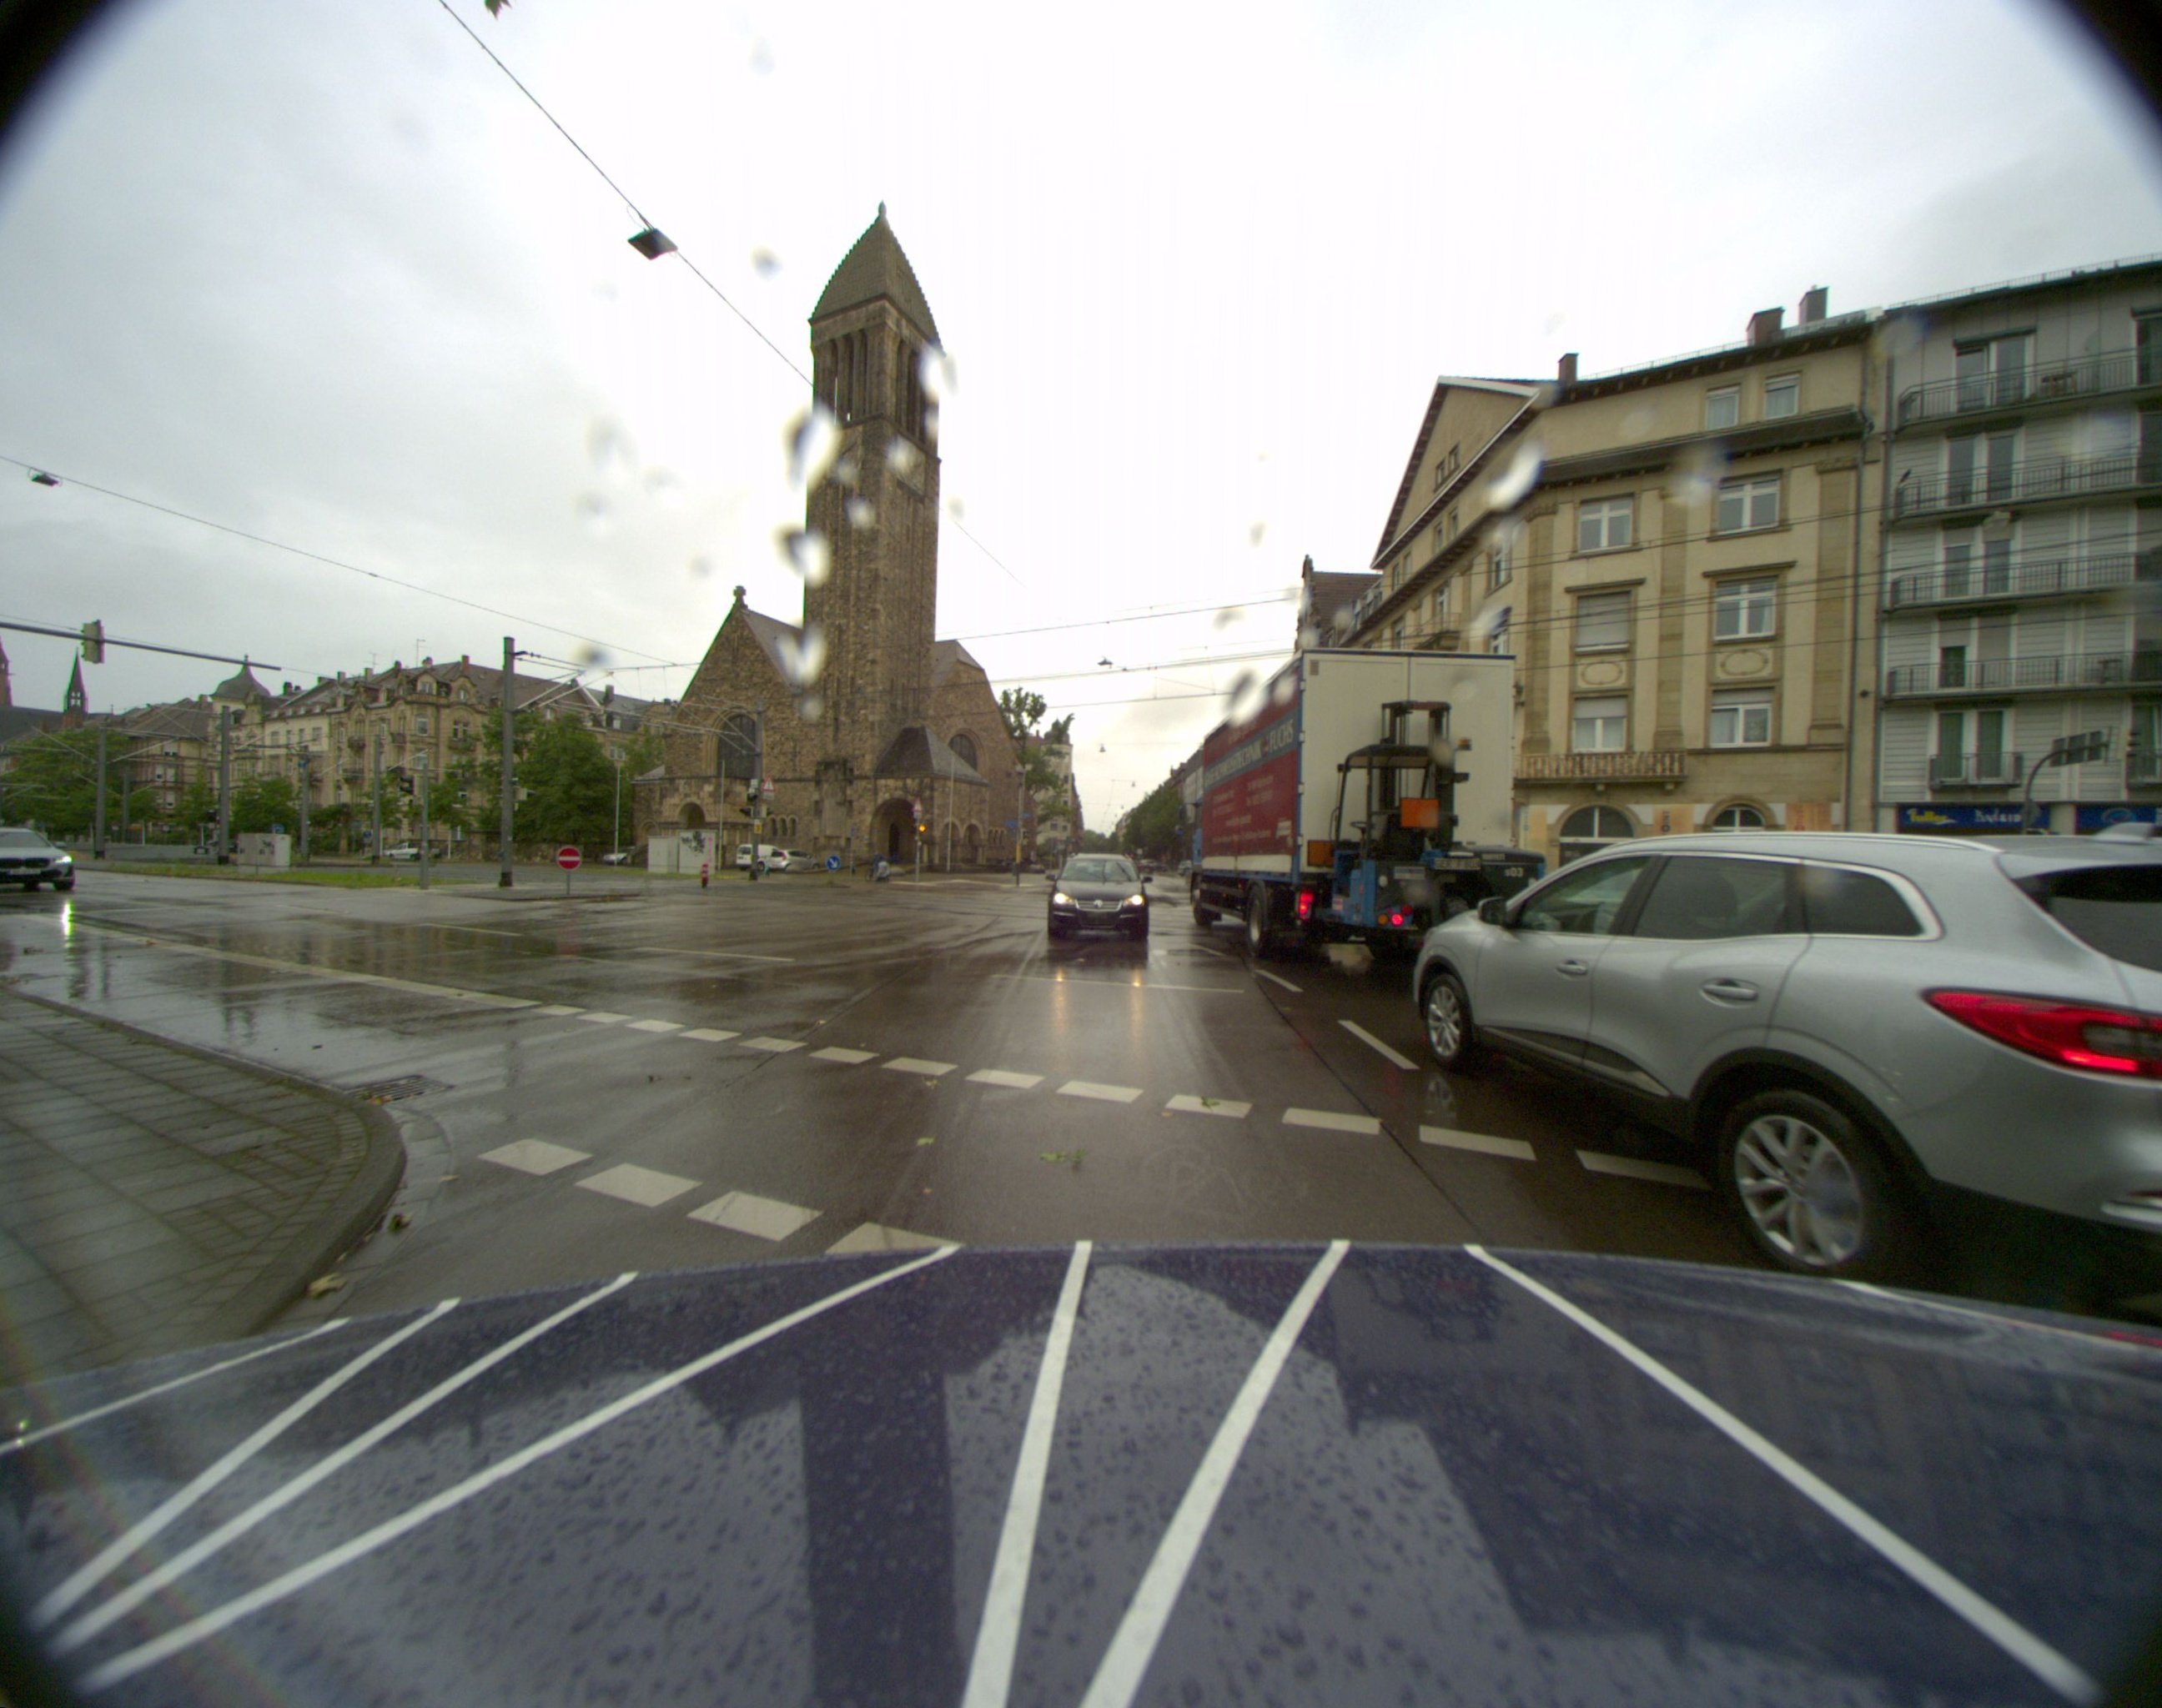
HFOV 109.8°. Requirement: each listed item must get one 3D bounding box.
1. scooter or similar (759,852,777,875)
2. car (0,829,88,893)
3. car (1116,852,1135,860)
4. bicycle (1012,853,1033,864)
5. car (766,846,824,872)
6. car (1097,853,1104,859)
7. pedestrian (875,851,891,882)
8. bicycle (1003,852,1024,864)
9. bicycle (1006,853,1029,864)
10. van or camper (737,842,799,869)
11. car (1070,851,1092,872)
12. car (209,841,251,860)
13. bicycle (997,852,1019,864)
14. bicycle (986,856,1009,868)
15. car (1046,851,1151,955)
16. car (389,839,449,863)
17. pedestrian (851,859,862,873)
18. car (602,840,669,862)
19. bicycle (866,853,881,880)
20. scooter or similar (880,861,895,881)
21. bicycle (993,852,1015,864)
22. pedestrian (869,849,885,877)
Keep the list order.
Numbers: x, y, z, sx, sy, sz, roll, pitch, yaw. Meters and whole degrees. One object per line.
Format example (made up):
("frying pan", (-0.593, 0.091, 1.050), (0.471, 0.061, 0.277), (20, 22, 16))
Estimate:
("scooter or similar", (-18.727, 0.573, 45.427), (1.101, 1.379, 0.287), (2, 0, 24))
("car", (-28.792, 0.139, 20.265), (4.543, 1.590, 1.795), (2, 0, 24))
("car", (10.123, 0.440, 174.029), (3.809, 1.705, 1.994), (2, 0, -32))
("bicycle", (-5.709, 0.443, 74.347), (1.977, 1.060, 0.607), (2, 1, 24))
("car", (-19.468, 0.305, 51.821), (1.731, 1.565, 3.363), (2, 3, 28))
("car", (5.829, 0.712, 226.383), (1.998, 1.705, 4.376), (2, 0, 5))
("pedestrian", (-10.840, 0.672, 41.528), (0.604, 1.653, 0.689), (2, 0, 5))
("bicycle", (-6.467, 0.414, 72.590), (1.923, 1.054, 0.582), (2, 1, 23))
("bicycle", (-6.131, 0.425, 73.523), (2.150, 1.054, 0.679), (2, 0, 23))
("van or camper", (-22.112, 0.065, 53.783), (1.644, 1.719, 3.935), (2, 4, 25))
("car", (0.038, 0.689, 75.215), (1.909, 1.911, 5.273), (2, 0, 1))
("car", (-85.660, -0.341, 76.475), (3.989, 1.766, 1.785), (2, 1, 25))
("bicycle", (-6.905, 0.395, 71.803), (1.923, 1.054, 0.582), (2, 1, 23))
("bicycle", (-7.724, 0.725, 70.421), (2.004, 1.043, 0.577), (2, 1, 18))
("car", (0.318, 0.754, 13.745), (1.547, 1.553, 4.071), (2, 0, 1))
("car", (-53.479, -0.266, 61.389), (3.990, 1.783, 1.984), (2, 1, 22))
("pedestrian", (-14.289, 0.769, 48.362), (0.455, 0.879, 0.397), (2, 0, 22))
("car", (-34.373, -0.193, 58.714), (1.995, 1.608, 4.007), (2, 0, 26))
("bicycle", (-11.383, 0.687, 41.770), (0.533, 1.458, 1.938), (2, 0, -8))
("scooter or similar", (-10.460, 0.910, 41.157), (0.514, 1.042, 0.924), (2, 0, 4))
("bicycle", (-7.232, 0.387, 71.192), (1.923, 1.054, 0.582), (2, 1, 20))
("pedestrian", (-12.499, 0.542, 46.545), (0.632, 1.693, 0.679), (2, 0, 22))
